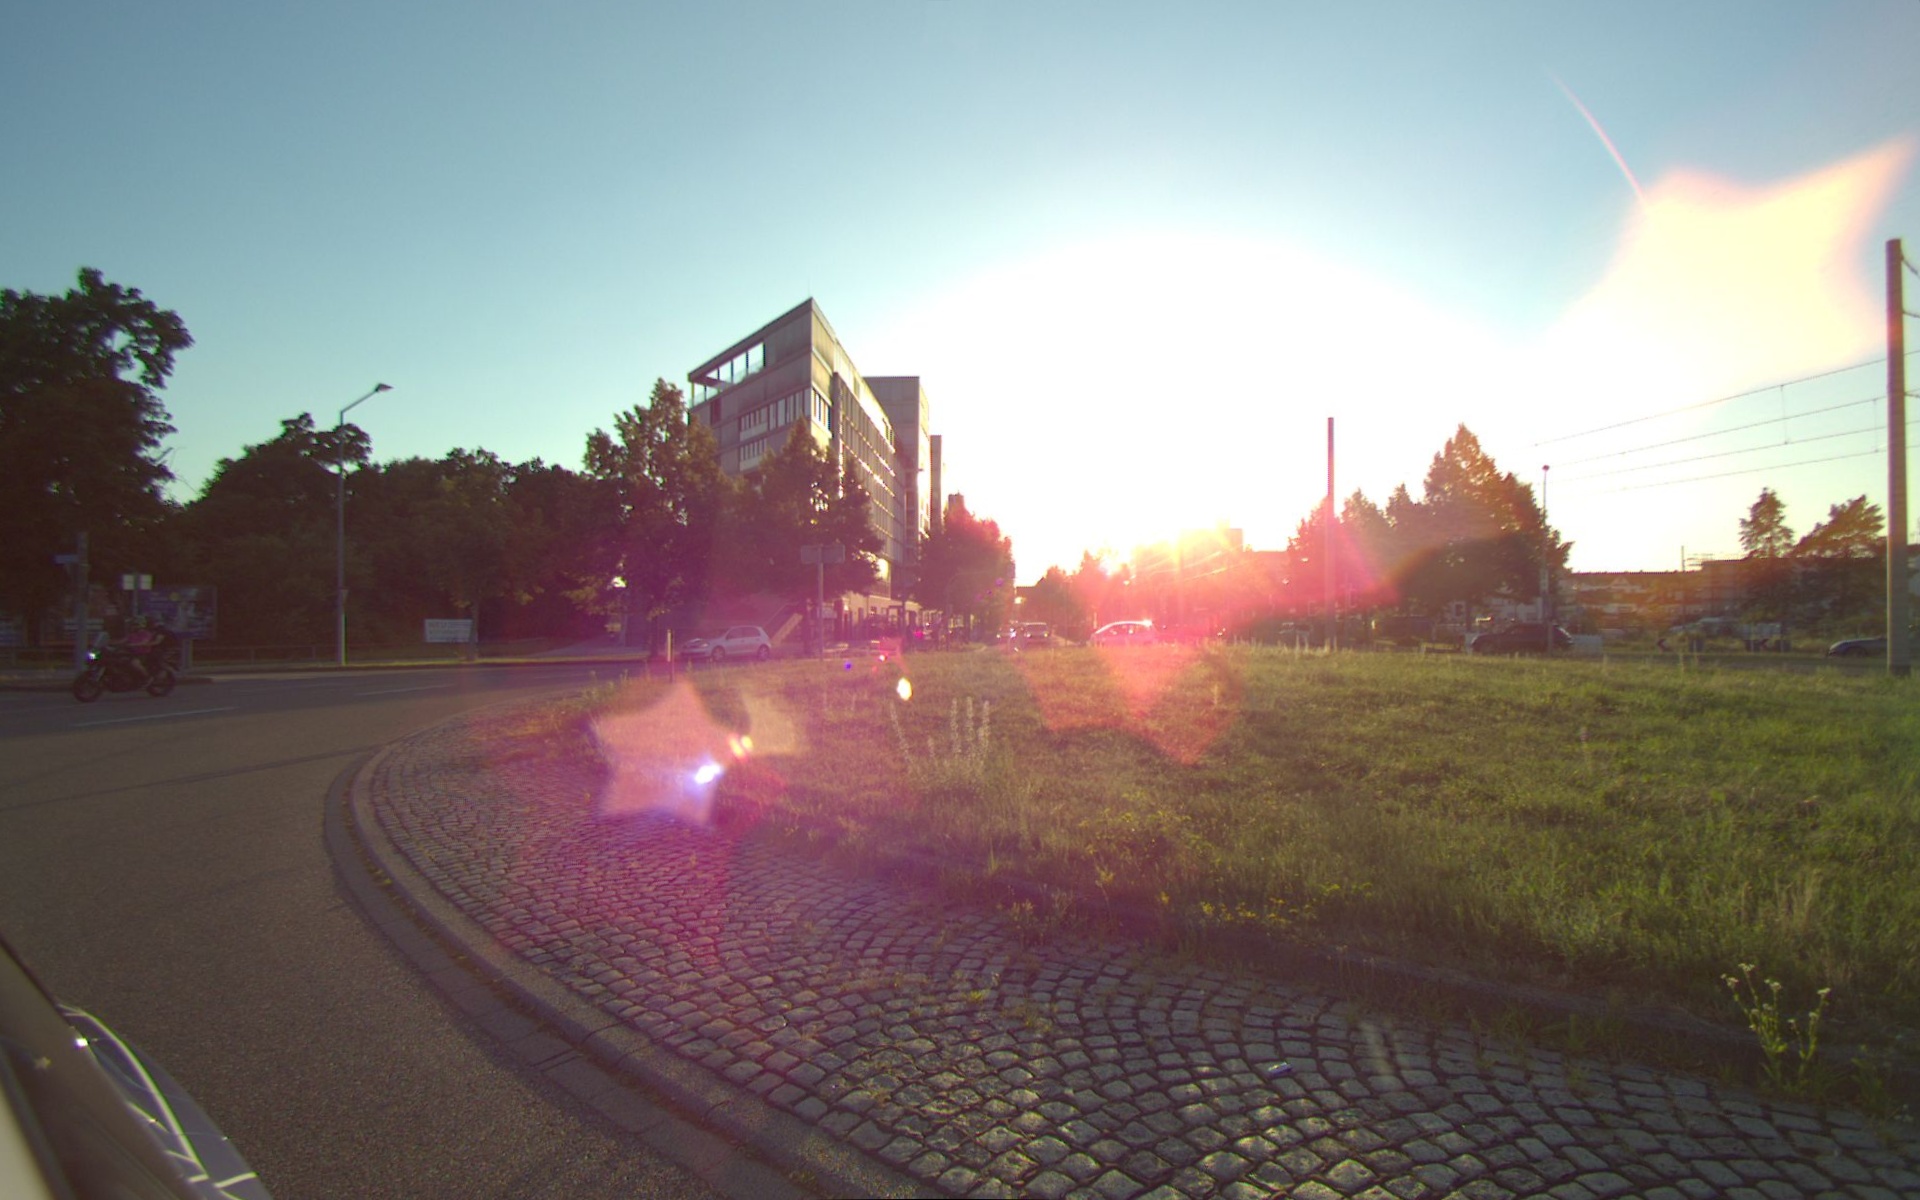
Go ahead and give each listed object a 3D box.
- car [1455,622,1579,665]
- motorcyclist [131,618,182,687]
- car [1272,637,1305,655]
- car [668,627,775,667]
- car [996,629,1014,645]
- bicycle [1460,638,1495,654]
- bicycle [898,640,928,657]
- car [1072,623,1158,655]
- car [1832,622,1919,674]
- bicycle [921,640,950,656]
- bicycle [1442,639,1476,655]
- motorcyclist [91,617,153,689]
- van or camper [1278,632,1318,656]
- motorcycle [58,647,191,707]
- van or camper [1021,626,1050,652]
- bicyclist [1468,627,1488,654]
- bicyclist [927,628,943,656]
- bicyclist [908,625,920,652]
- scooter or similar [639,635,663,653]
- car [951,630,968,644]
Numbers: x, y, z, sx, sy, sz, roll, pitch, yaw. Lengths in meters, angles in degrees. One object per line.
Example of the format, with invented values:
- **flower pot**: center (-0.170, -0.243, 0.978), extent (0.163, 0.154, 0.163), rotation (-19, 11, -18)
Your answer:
- **car**: center (24.329, 1.890, 44.277), extent (4.584, 1.761, 1.731), rotation (-2, -2, 34)
- **motorcyclist**: center (-16.890, 1.094, 21.278), extent (0.631, 1.419, 0.590), rotation (-1, -1, 18)
- **car**: center (26.315, 3.675, 81.218), extent (1.558, 1.265, 3.777), rotation (-2, -2, 3)
- **car**: center (-9.705, 1.886, 41.376), extent (1.889, 1.492, 4.001), rotation (-1, -2, 36)
- **car**: center (4.435, 3.649, 100.014), extent (1.779, 1.475, 3.996), rotation (0, -1, 3)
- **bicycle**: center (32.044, 2.824, 62.651), extent (1.821, 0.988, 0.549), rotation (-1, -2, 7)
- **bicycle**: center (-2.932, 3.013, 62.917), extent (1.834, 1.030, 0.308), rotation (0, -2, -6)
- **car**: center (7.245, 1.840, 47.482), extent (3.655, 1.476, 1.608), rotation (0, -2, -4)
- **car**: center (33.194, 1.628, 34.776), extent (1.723, 1.761, 4.607), rotation (1, -2, -37)
- **bicycle**: center (-1.573, 3.077, 64.920), extent (1.843, 1.030, 0.436), rotation (-1, -2, 11)
- **bicycle**: center (31.635, 2.974, 64.230), extent (1.821, 0.988, 0.549), rotation (-1, -2, 7)
- **motorcyclist**: center (-17.084, 1.064, 20.643), extent (0.683, 1.427, 0.710), rotation (-1, -1, 18)
- **van or camper**: center (29.383, 3.820, 88.101), extent (1.890, 2.025, 5.296), rotation (-1, -3, 3)
- **motorcycle**: center (-17.051, 1.546, 20.719), extent (0.553, 1.109, 2.147), rotation (-1, -1, 17)
- **van or camper**: center (6.221, 3.157, 82.963), extent (1.977, 1.972, 5.314), rotation (-1, -1, 9)
- **bicyclist**: center (32.064, 2.515, 62.637), extent (0.805, 1.653, 0.813), rotation (-1, -2, 7)
- **bicyclist**: center (-1.582, 2.654, 64.555), extent (0.840, 1.769, 0.801), rotation (-1, -2, 10)
- **bicyclist**: center (-2.887, 2.412, 63.139), extent (0.674, 1.660, 0.685), rotation (0, -2, -6)
- **scooter or similar**: center (-20.758, 2.963, 67.991), extent (1.561, 1.229, 0.365), rotation (-1, -2, 14)
- **car**: center (-0.006, 4.231, 115.699), extent (1.779, 1.475, 3.996), rotation (0, -2, 3)
